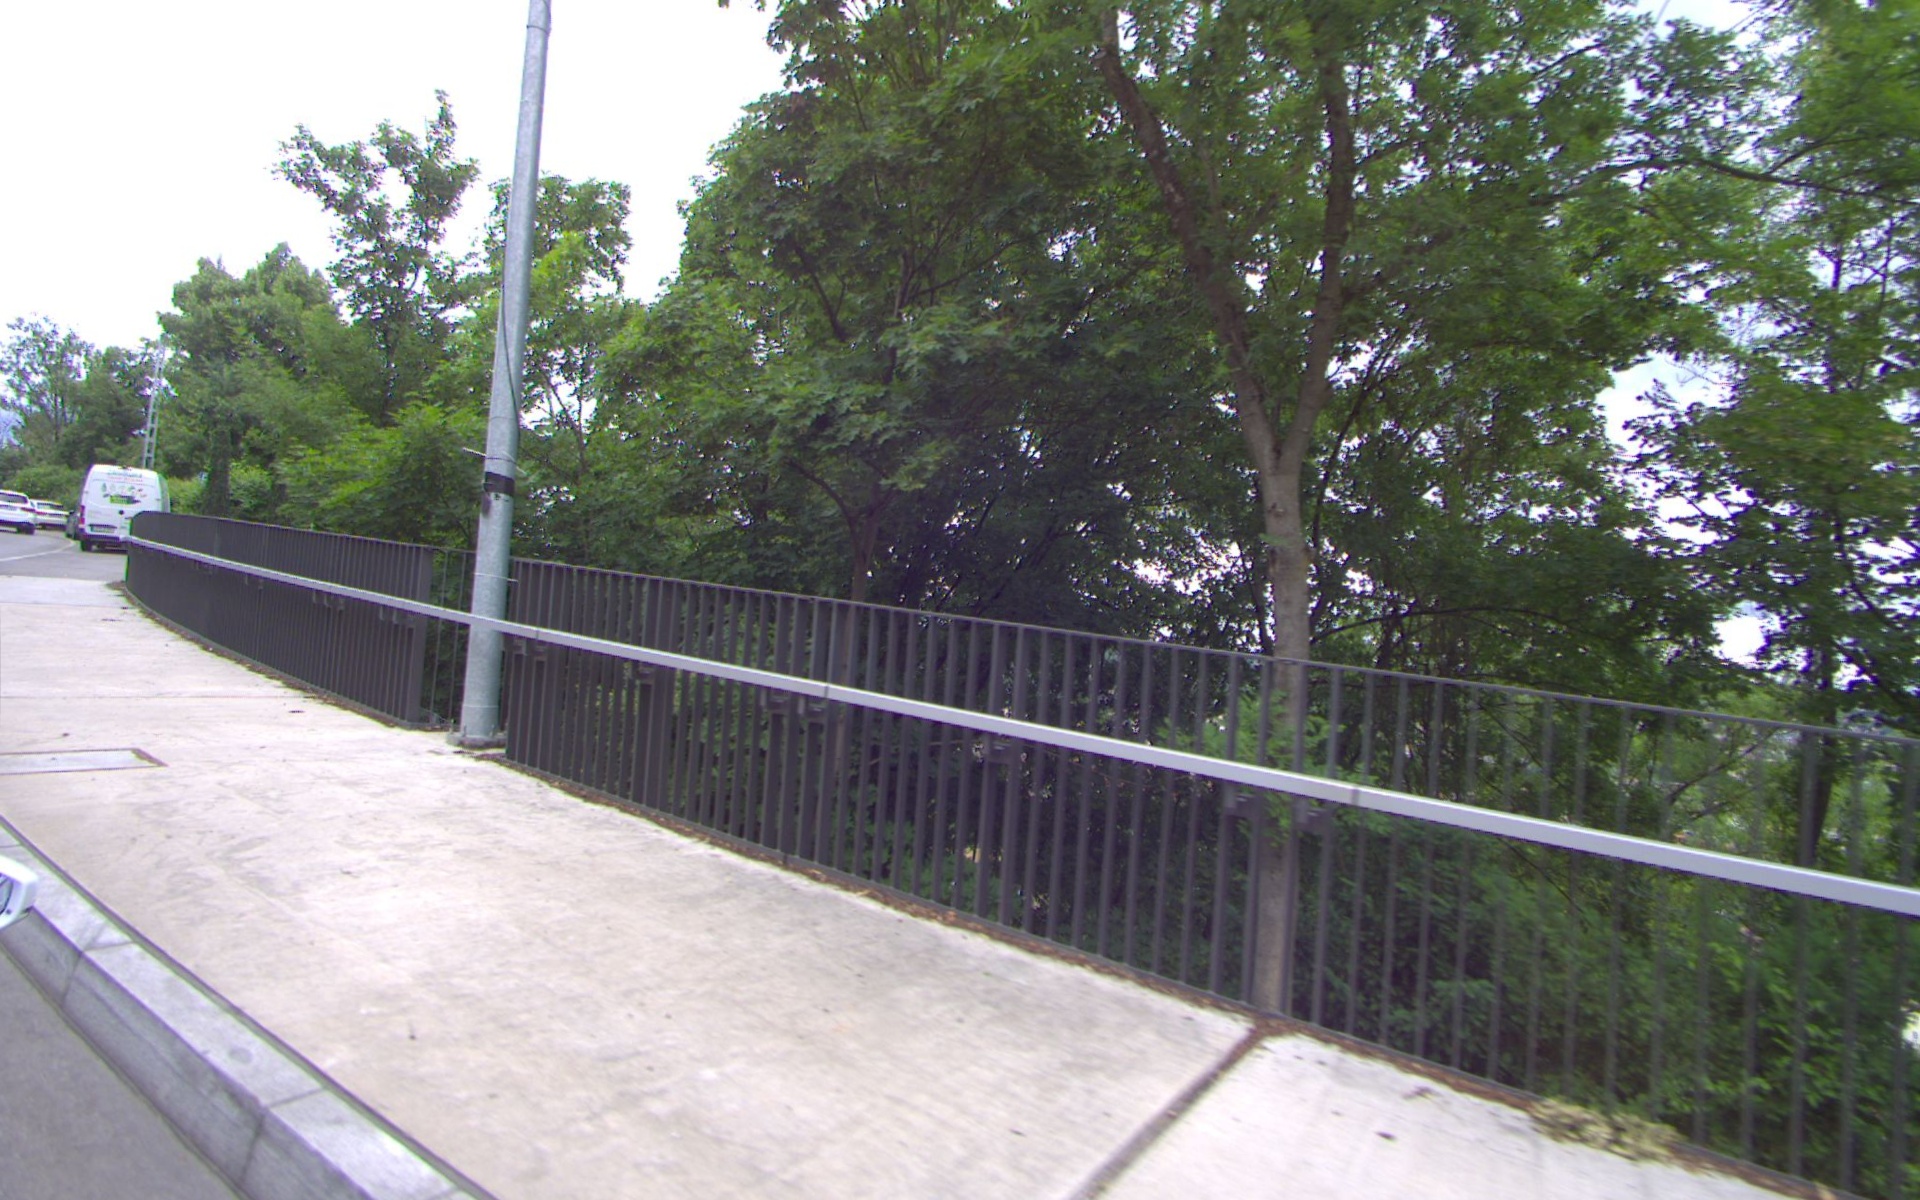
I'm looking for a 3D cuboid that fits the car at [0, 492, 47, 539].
[{"bbox_3d":[-38.726,-3.498,40.499,3.938,1.603,1.997,5,-4,36],"label":"car"}]

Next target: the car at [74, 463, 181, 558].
[{"bbox_3d":[-26.714,-2.805,32.470,2.071,2.555,5.789,5,1,-35],"label":"car"}]

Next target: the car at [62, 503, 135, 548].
[{"bbox_3d":[-34.507,-3.009,40.249,4.603,1.482,1.697,6,0,44],"label":"car"}]

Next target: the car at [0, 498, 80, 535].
[{"bbox_3d":[-46.810,-4.263,51.101,3.930,1.436,1.780,6,0,27],"label":"car"}]
